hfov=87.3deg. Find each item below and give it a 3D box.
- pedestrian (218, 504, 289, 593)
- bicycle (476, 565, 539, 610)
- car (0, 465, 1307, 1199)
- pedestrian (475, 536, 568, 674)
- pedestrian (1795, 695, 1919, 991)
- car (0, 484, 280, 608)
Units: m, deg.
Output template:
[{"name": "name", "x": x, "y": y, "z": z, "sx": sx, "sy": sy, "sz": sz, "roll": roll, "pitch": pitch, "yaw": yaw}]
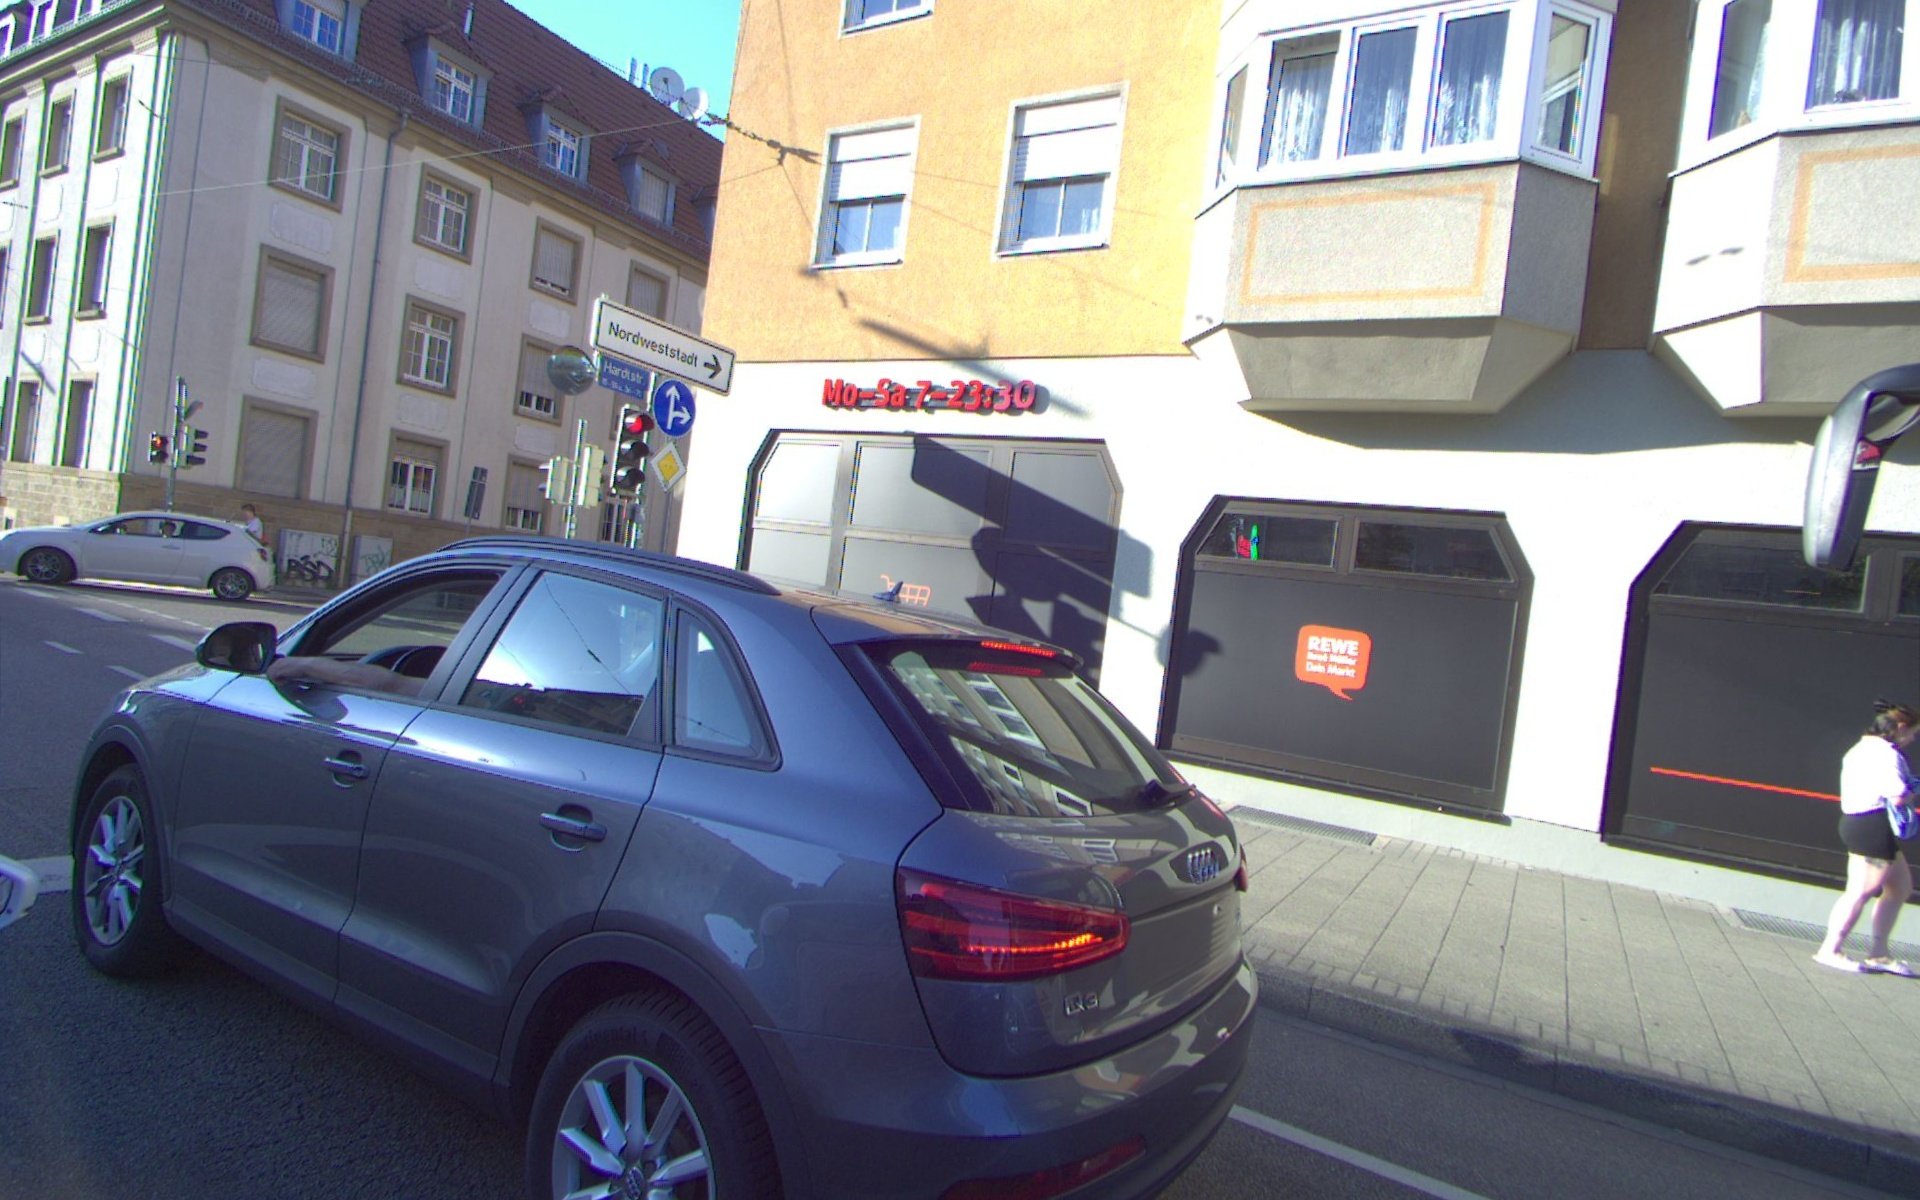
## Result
[{"name": "pedestrian", "x": -15.401, "y": -1.122, "z": 21.947, "sx": 0.810, "sy": 1.783, "sz": 0.837, "roll": 6, "pitch": -1, "yaw": 31}, {"name": "bicycle", "x": -12.527, "y": -0.334, "z": 27.892, "sx": 1.499, "sy": 1.029, "sz": 0.247, "roll": 9, "pitch": -2, "yaw": -43}, {"name": "car", "x": -1.281, "y": 0.594, "z": 3.281, "sx": 4.155, "sy": 1.570, "sz": 1.701, "roll": 7, "pitch": -2, "yaw": 32}, {"name": "pedestrian", "x": -6.028, "y": 0.078, "z": 13.849, "sx": 0.812, "sy": 1.778, "sz": 0.630, "roll": 6, "pitch": -1, "yaw": 32}, {"name": "pedestrian", "x": 5.531, "y": 1.409, "z": 5.949, "sx": 0.657, "sy": 1.603, "sz": 0.580, "roll": 7, "pitch": 1, "yaw": 29}, {"name": "car", "x": -14.731, "y": -0.920, "z": 18.054, "sx": 3.968, "sy": 1.582, "sz": 1.980, "roll": 8, "pitch": -2, "yaw": -38}]
